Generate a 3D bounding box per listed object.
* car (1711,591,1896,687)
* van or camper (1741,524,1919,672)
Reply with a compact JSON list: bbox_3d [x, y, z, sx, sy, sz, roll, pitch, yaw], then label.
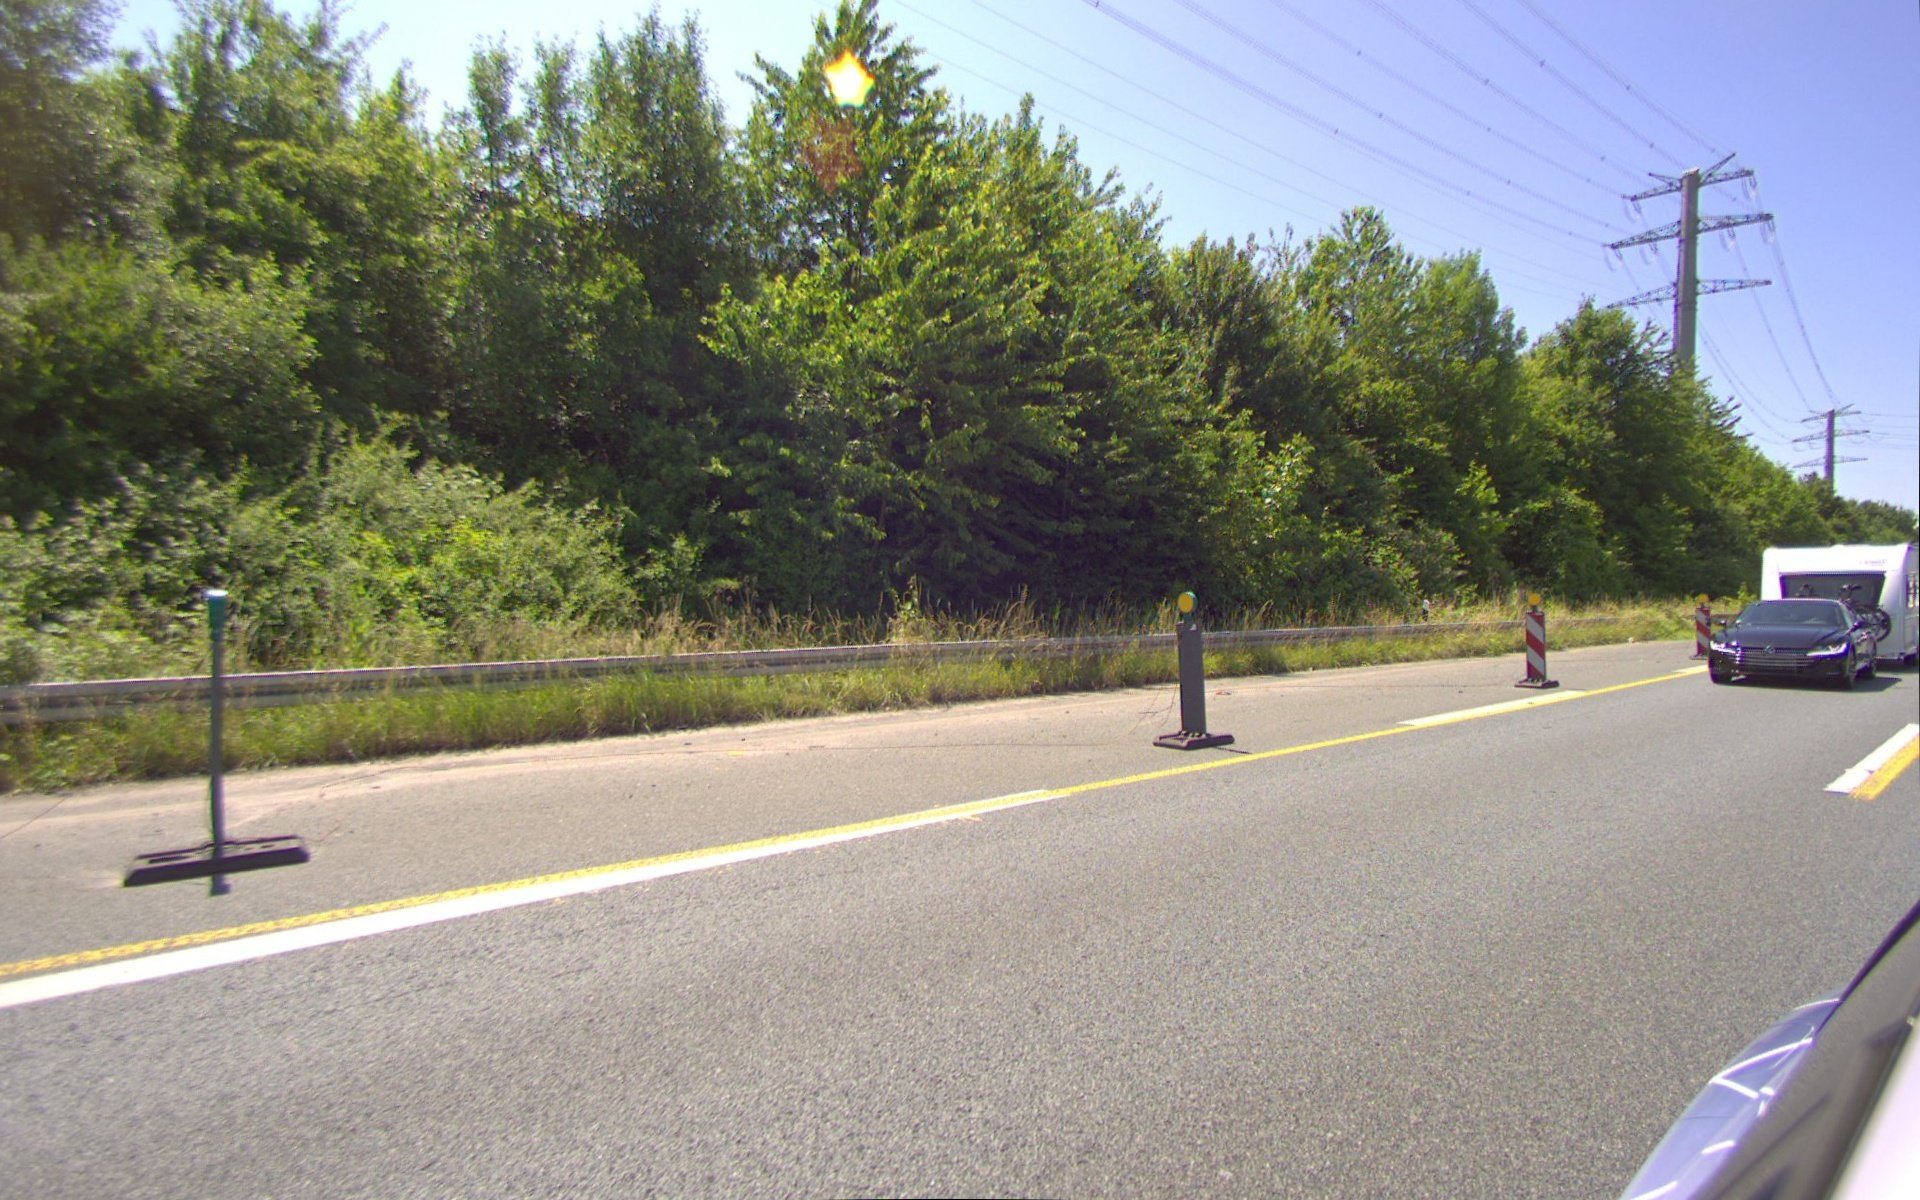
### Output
[{"bbox_3d":[14.420,0.571,17.235,4.136,1.425,1.799,-1,0,-41],"label":"car"},{"bbox_3d":[19.033,-0.070,21.418,8.271,2.597,2.430,-1,0,-41],"label":"van or camper"}]
